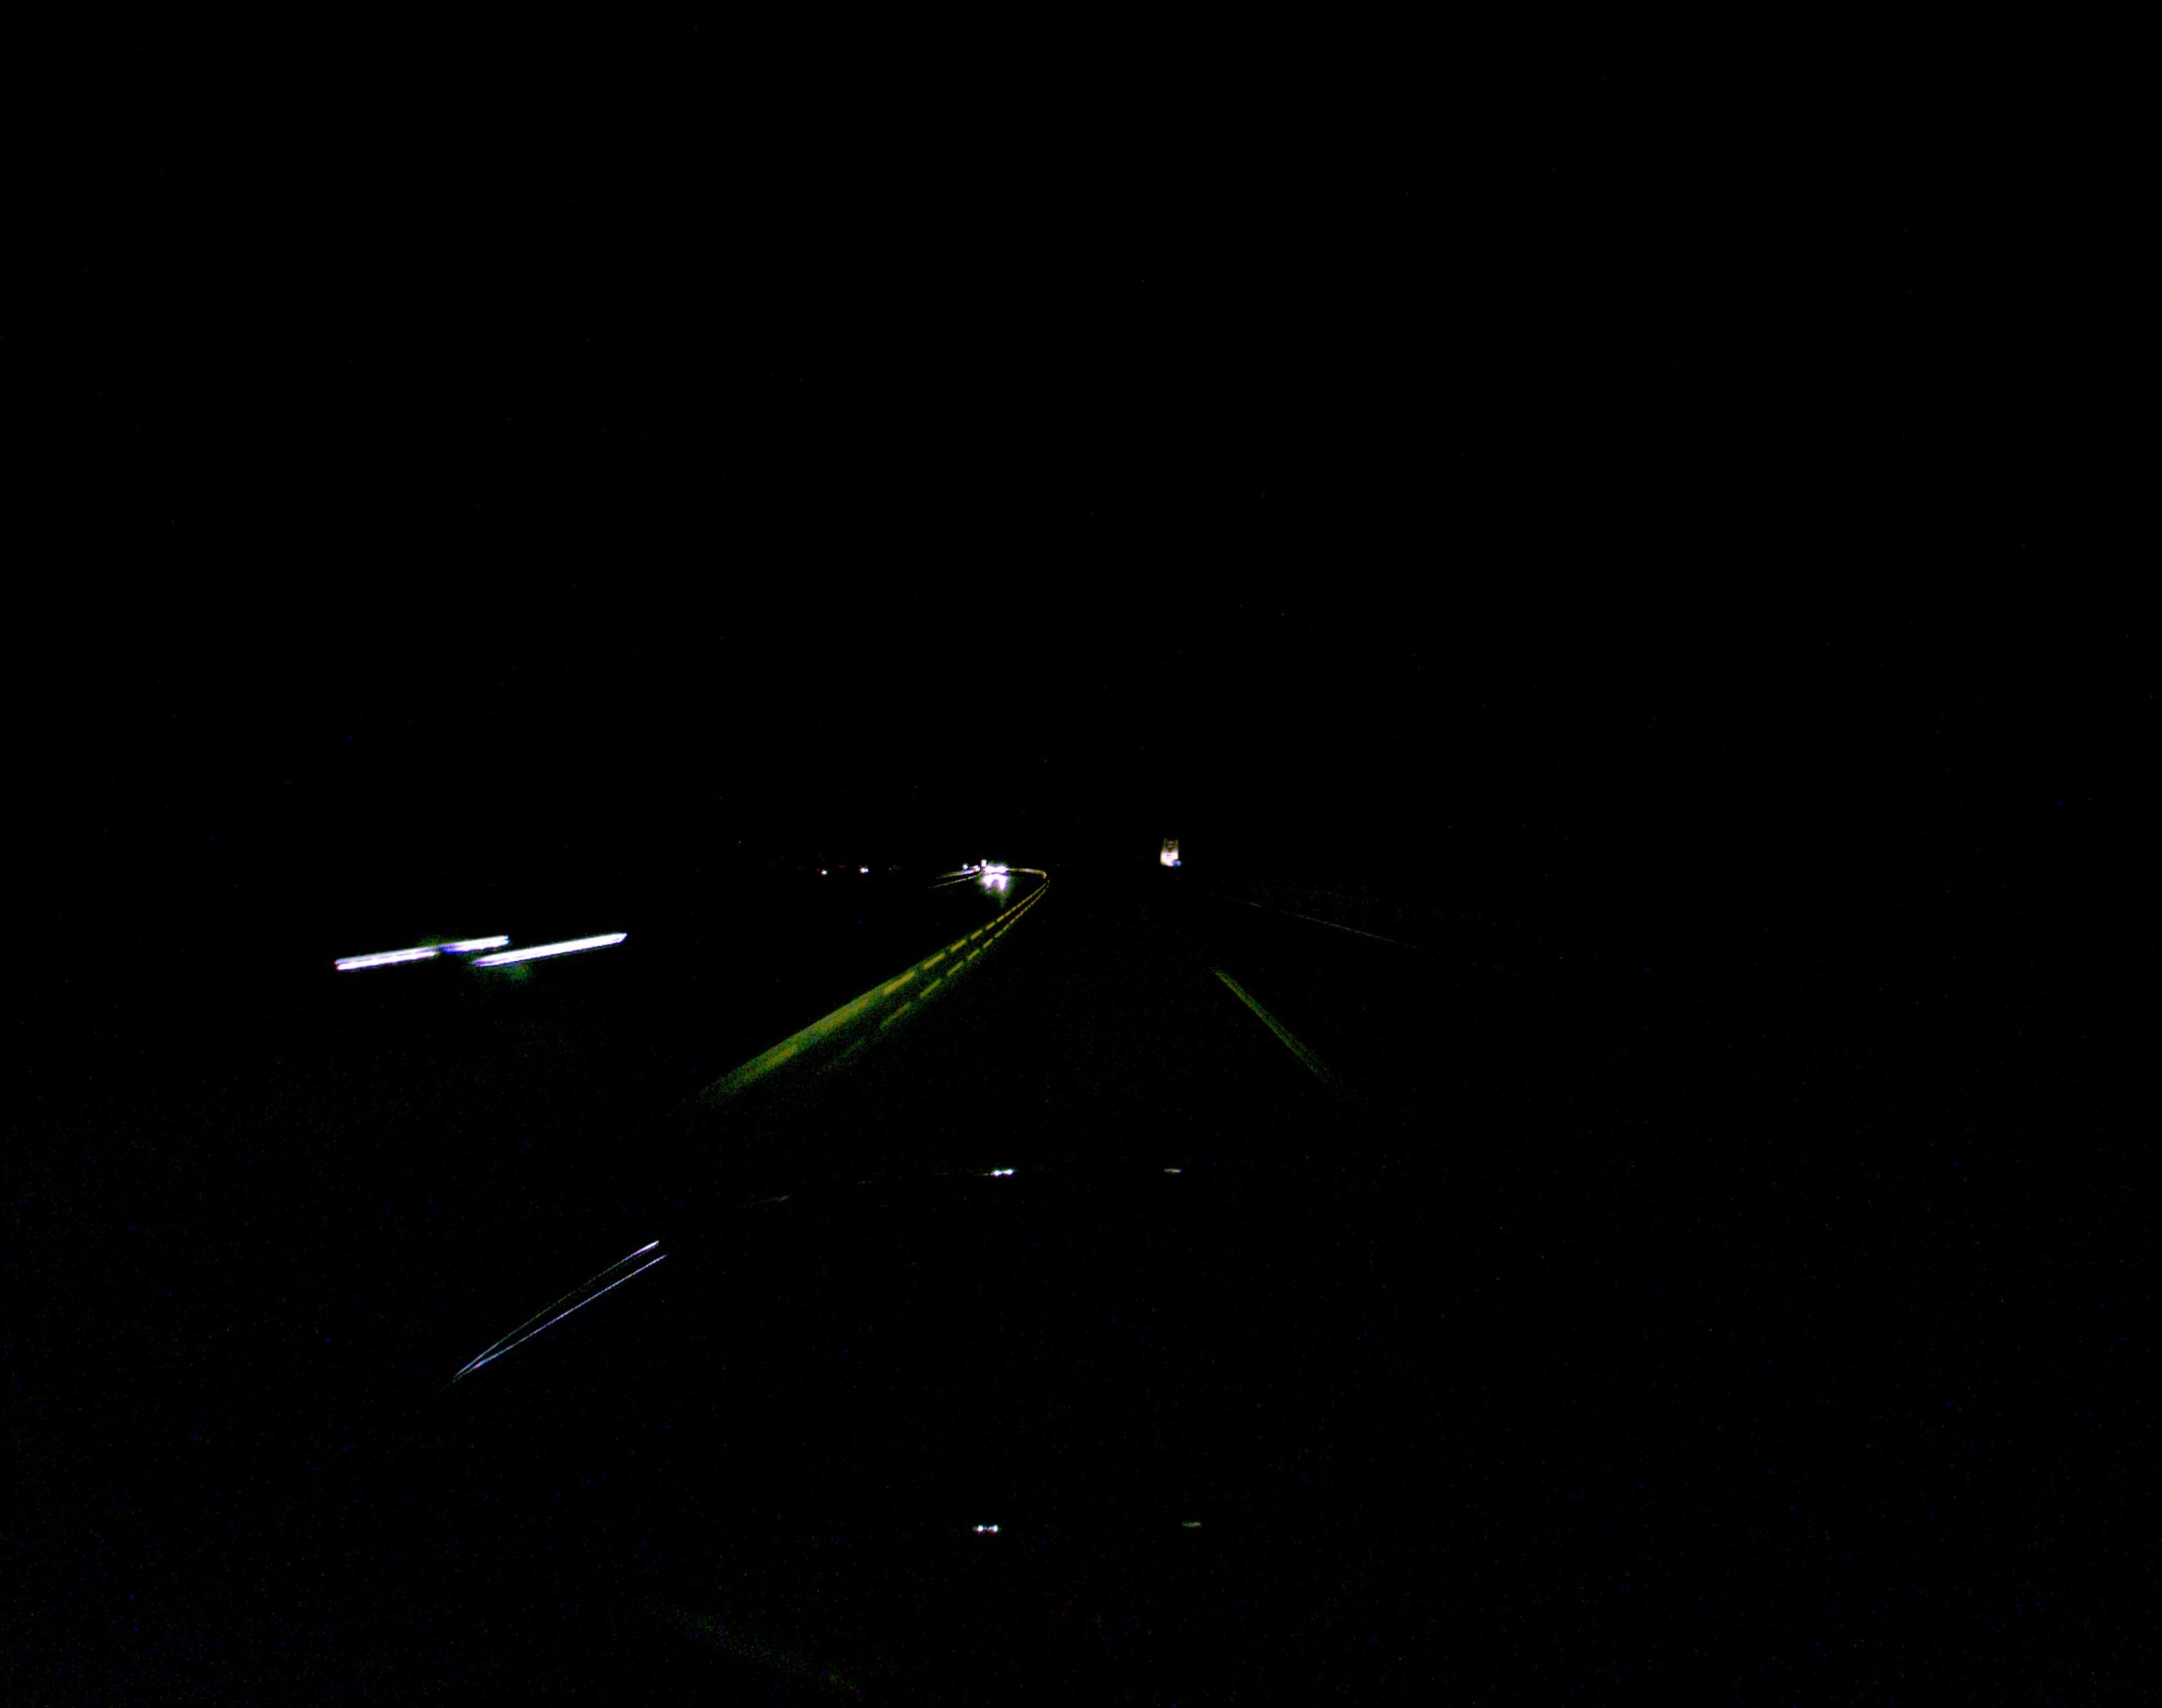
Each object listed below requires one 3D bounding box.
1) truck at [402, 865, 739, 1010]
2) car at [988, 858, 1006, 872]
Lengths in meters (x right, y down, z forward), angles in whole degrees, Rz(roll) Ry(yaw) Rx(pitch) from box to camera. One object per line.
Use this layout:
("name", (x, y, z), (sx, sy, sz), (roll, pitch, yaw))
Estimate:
("truck", (-6.095, 0.889, 10.428), (1.677, 1.470, 4.152), (0, -1, 0))
("car", (-8.938, 1.187, 86.797), (1.709, 1.443, 4.481), (-2, -1, -3))
